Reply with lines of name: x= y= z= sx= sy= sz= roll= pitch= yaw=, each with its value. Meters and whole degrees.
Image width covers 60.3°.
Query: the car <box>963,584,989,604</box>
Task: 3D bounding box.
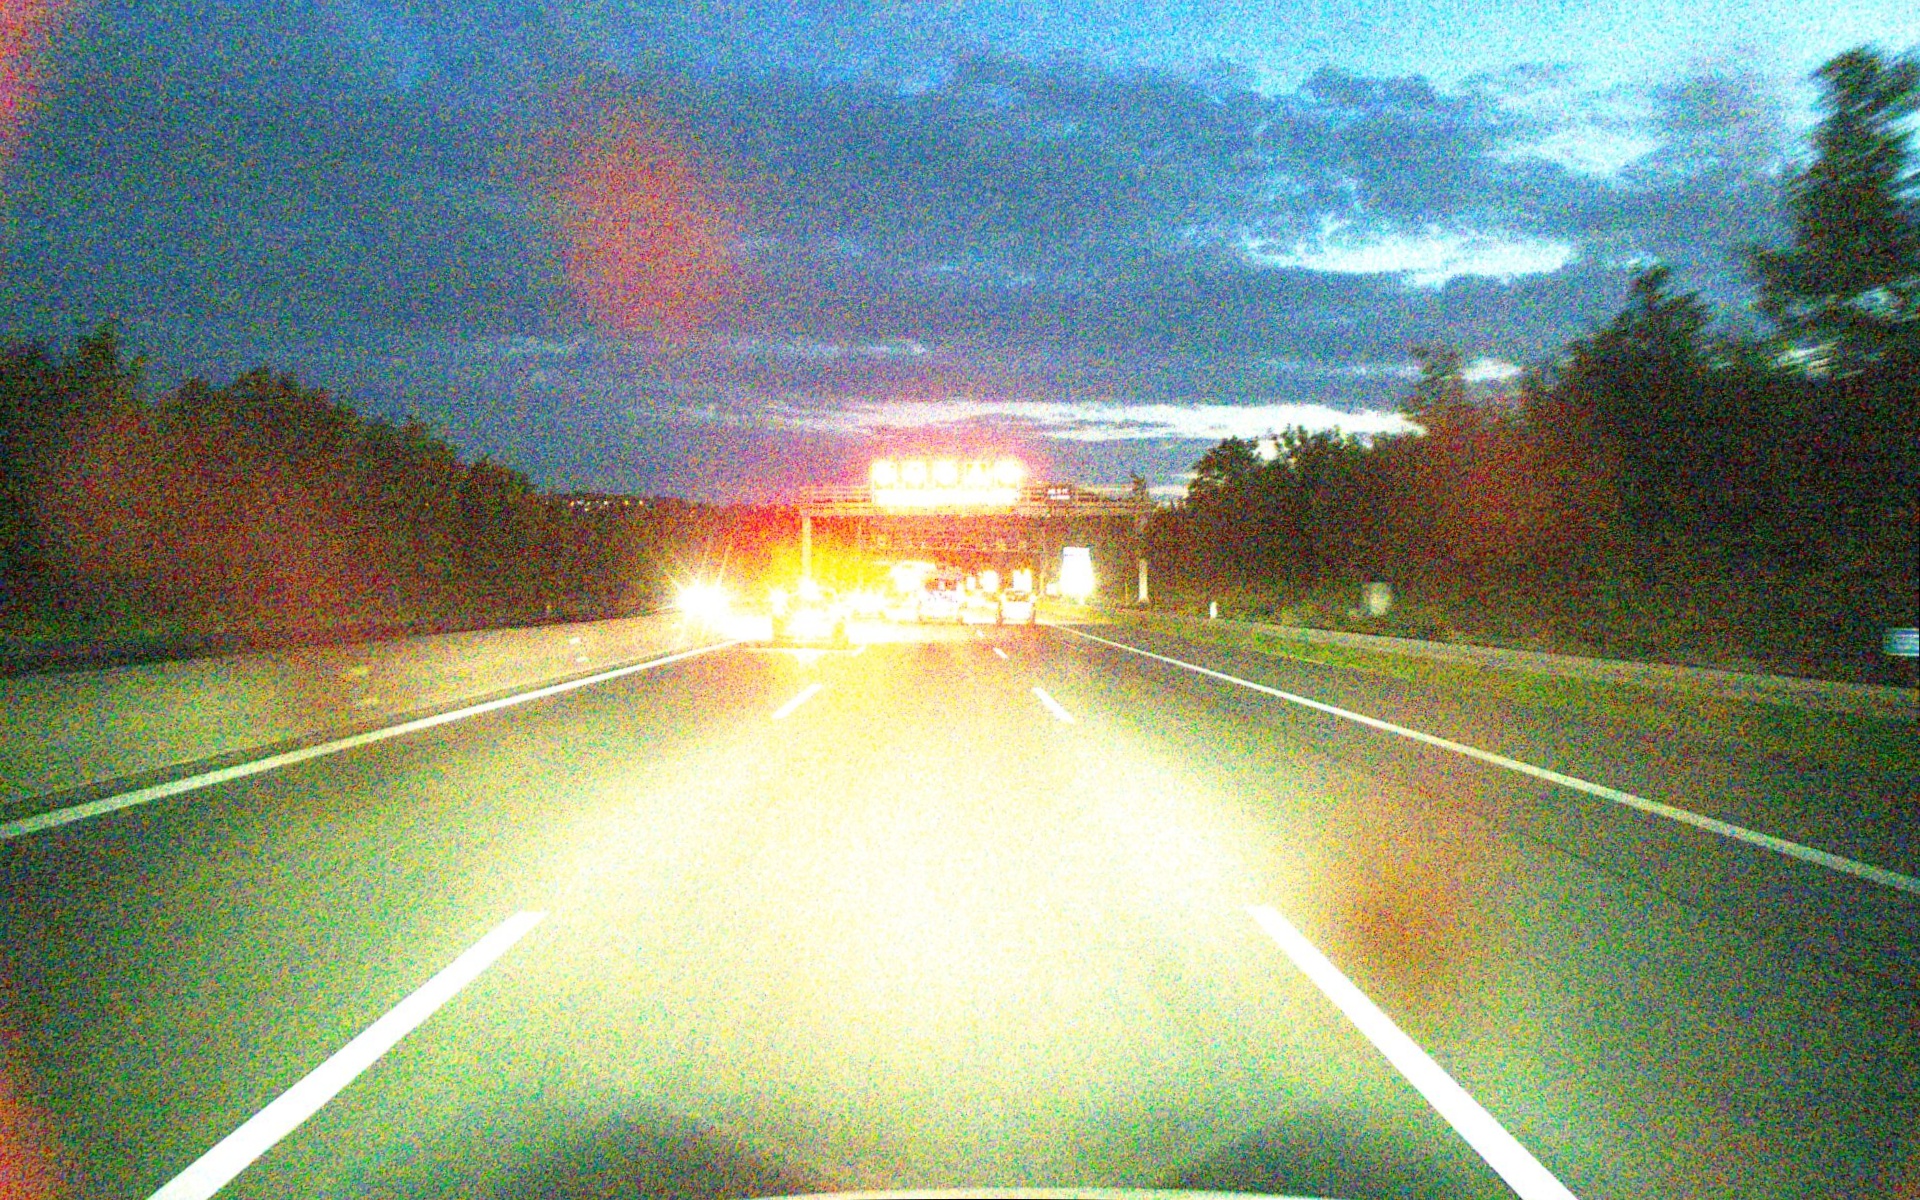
car: x=1.367 y=-0.519 z=141.581 sx=2.119 sy=1.591 sz=4.722 roll=1 pitch=0 yaw=-1

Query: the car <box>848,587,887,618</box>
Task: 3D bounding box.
car: x=-4.557 y=0.122 z=81.942 sx=1.709 sy=1.465 sz=4.367 roll=0 pitch=1 yaw=-1

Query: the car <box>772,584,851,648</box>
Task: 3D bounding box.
car: x=-3.631 y=0.361 z=40.992 sx=1.758 sy=1.494 sz=3.771 roll=1 pitch=1 yaw=-3

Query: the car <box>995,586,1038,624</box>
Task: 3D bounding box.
car: x=2.489 y=0.205 z=73.984 sx=1.613 sy=1.624 sz=4.508 roll=1 pitch=0 yaw=-2

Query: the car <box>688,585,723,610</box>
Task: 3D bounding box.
car: x=-17.143 y=-0.154 z=111.542 sx=1.865 sy=1.646 sz=4.402 roll=0 pitch=0 yaw=-2

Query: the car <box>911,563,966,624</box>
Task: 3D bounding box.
car: x=-0.932 y=-0.308 z=73.008 sx=2.303 sy=2.579 sz=5.700 roll=0 pitch=1 yaw=-1

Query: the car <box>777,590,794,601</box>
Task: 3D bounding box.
car: x=-22.451 y=-0.563 z=212.900 sx=1.864 sy=1.305 sz=4.349 roll=0 pitch=0 yaw=-1
